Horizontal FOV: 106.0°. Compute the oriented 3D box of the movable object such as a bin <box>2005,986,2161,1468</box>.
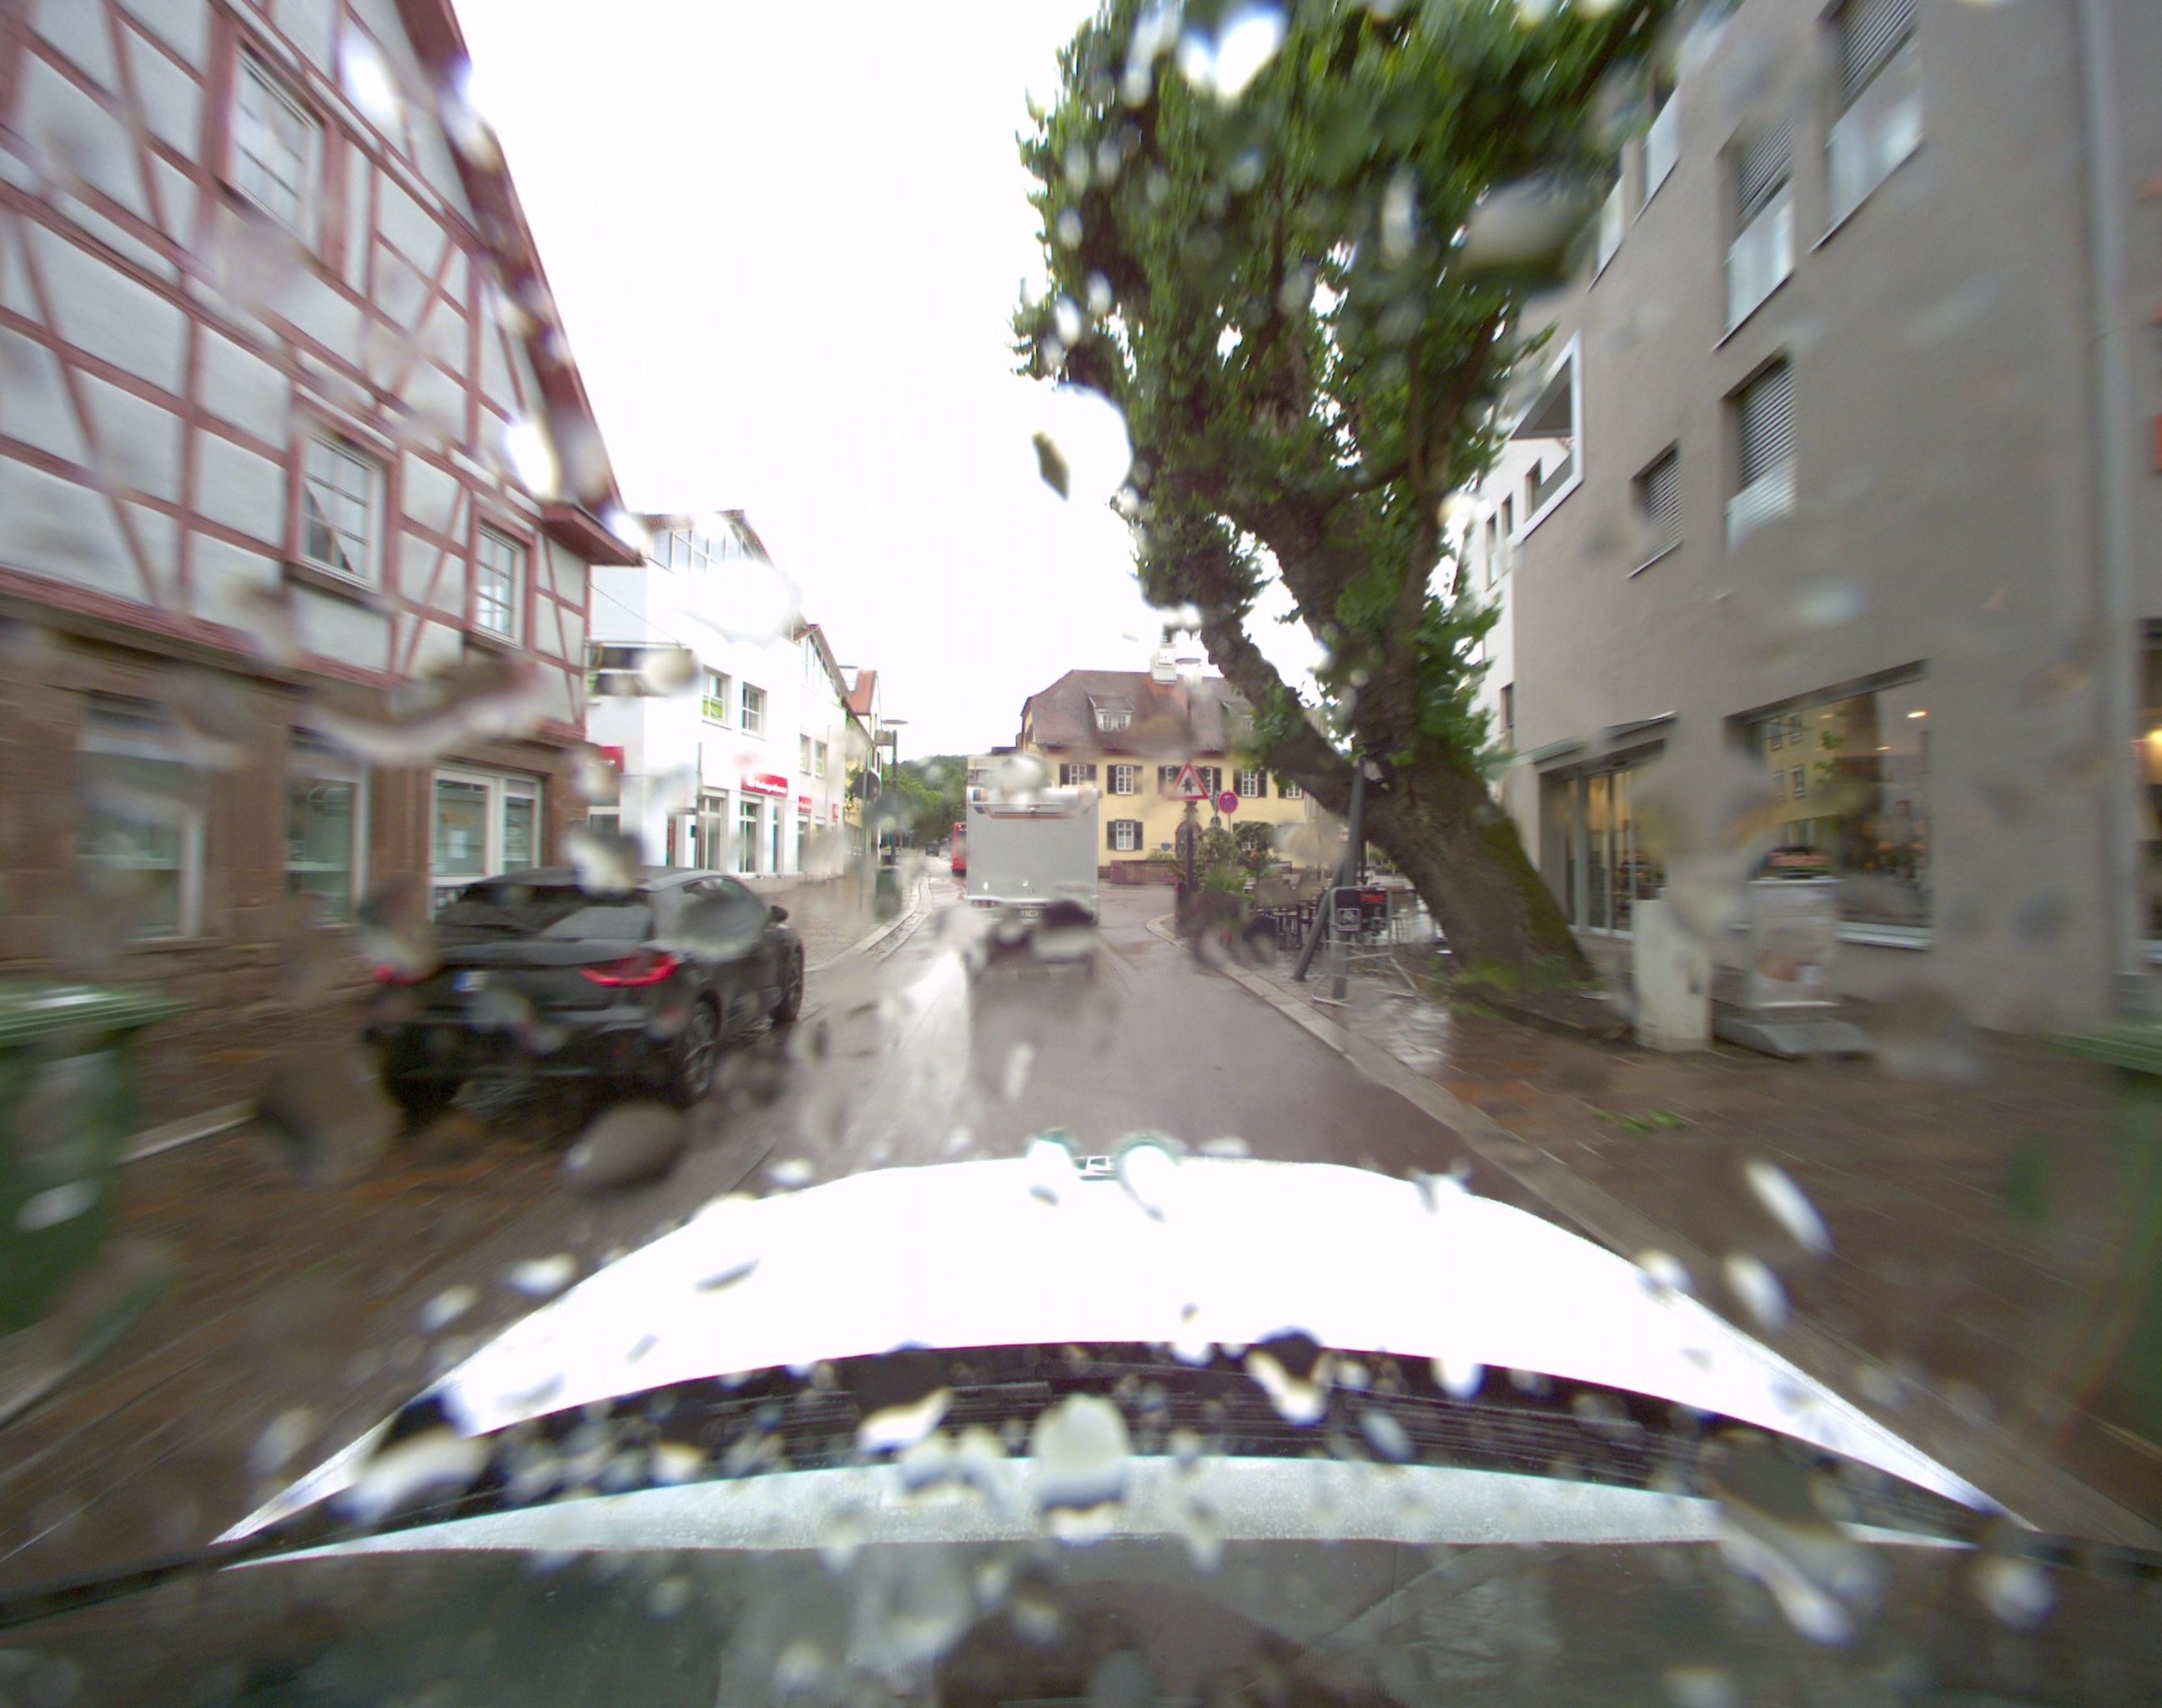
[{"bbox_3d":[2.887,0.893,1.917,0.725,1.080,0.577,0,-2,3],"label":"movable object such as a bin"}]

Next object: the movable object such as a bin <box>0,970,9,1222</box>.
[{"bbox_3d":[-3.529,0.896,2.055,0.628,1.113,0.733,0,-2,-2],"label":"movable object such as a bin"}]

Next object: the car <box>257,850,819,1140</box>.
[{"bbox_3d":[-3.479,0.749,6.317,1.992,1.494,3.990,1,0,-7],"label":"car"}]

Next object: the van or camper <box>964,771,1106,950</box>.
[{"bbox_3d":[-1.092,0.180,16.586,2.323,2.919,6.378,0,-2,-6],"label":"van or camper"}]

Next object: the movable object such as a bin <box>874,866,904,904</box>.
[{"bbox_3d":[-5.317,0.854,22.535,0.765,1.051,0.522,0,-2,-9],"label":"movable object such as a bin"}]

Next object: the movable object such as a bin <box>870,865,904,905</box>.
[{"bbox_3d":[-5.203,0.835,21.884,0.818,1.051,0.697,0,-2,-9],"label":"movable object such as a bin"}]

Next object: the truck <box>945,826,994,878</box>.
[{"bbox_3d":[-6.821,-0.011,49.064,2.464,2.939,6.171,0,-2,-12],"label":"truck"}]

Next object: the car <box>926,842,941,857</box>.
[{"bbox_3d":[-21.260,-0.622,117.466,1.995,2.014,3.984,0,-2,-12],"label":"car"}]

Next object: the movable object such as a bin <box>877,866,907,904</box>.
[{"bbox_3d":[-5.404,0.875,23.299,0.765,1.051,0.522,2,-2,-9],"label":"movable object such as a bin"}]

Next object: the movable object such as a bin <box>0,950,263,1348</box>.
[{"bbox_3d":[-3.532,0.933,2.816,0.628,1.123,0.733,0,-2,-2],"label":"movable object such as a bin"}]

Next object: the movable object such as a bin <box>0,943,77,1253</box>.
[{"bbox_3d":[-4.291,0.906,2.837,0.628,1.123,0.733,0,-2,-2],"label":"movable object such as a bin"}]

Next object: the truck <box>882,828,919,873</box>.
[{"bbox_3d":[-11.905,-0.160,53.885,2.282,2.758,5.545,0,-2,-12],"label":"truck"}]
